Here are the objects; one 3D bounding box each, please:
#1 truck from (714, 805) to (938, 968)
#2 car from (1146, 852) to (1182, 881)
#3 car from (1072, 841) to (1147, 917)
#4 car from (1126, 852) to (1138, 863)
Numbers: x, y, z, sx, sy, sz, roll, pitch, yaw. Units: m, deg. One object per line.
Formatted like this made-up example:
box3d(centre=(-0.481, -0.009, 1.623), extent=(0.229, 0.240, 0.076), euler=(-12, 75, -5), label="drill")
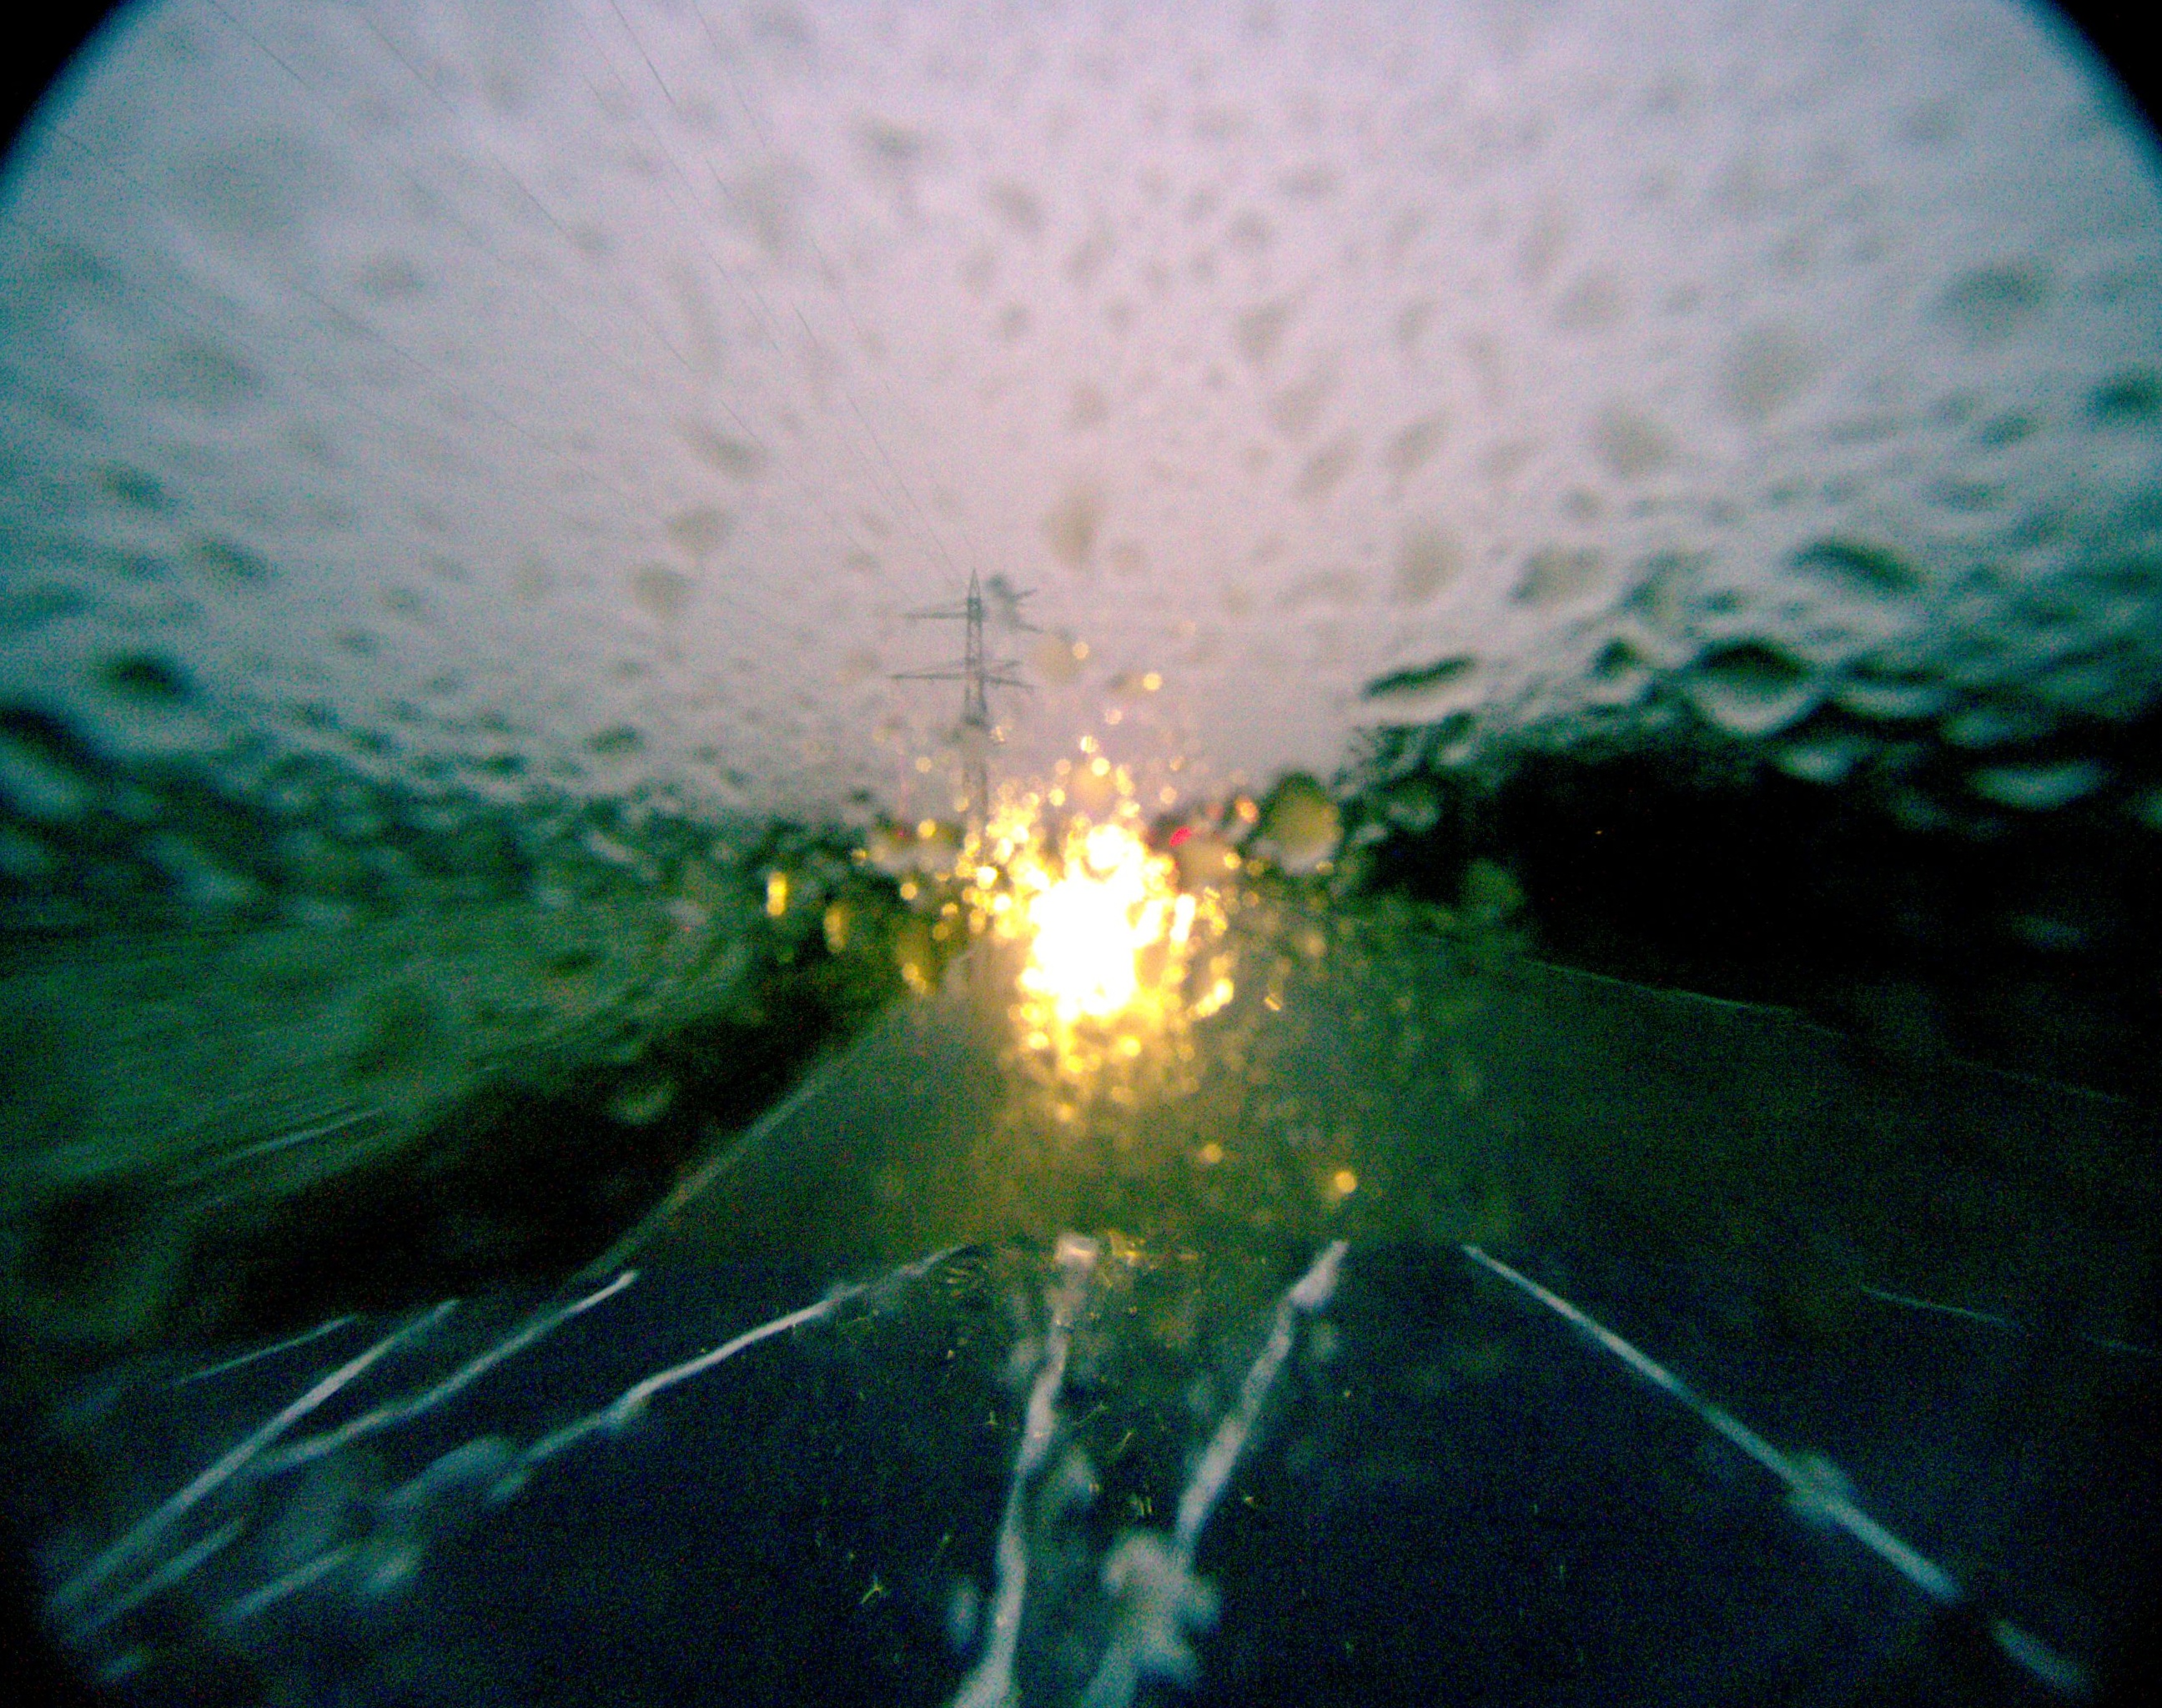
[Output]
box3d(centre=(-5.508, 0.569, 18.133), extent=(2.540, 2.961, 7.857), euler=(-2, 1, 0), label="truck")
box3d(centre=(4.942, 0.700, 45.609), extent=(1.773, 1.582, 4.164), euler=(-2, 0, 1), label="car")
box3d(centre=(0.753, 0.656, 22.542), extent=(1.857, 2.002, 3.999), euler=(-2, 1, -2), label="car")
box3d(centre=(7.710, 0.566, 115.051), extent=(1.676, 1.621, 3.976), euler=(-2, 0, 1), label="car")
